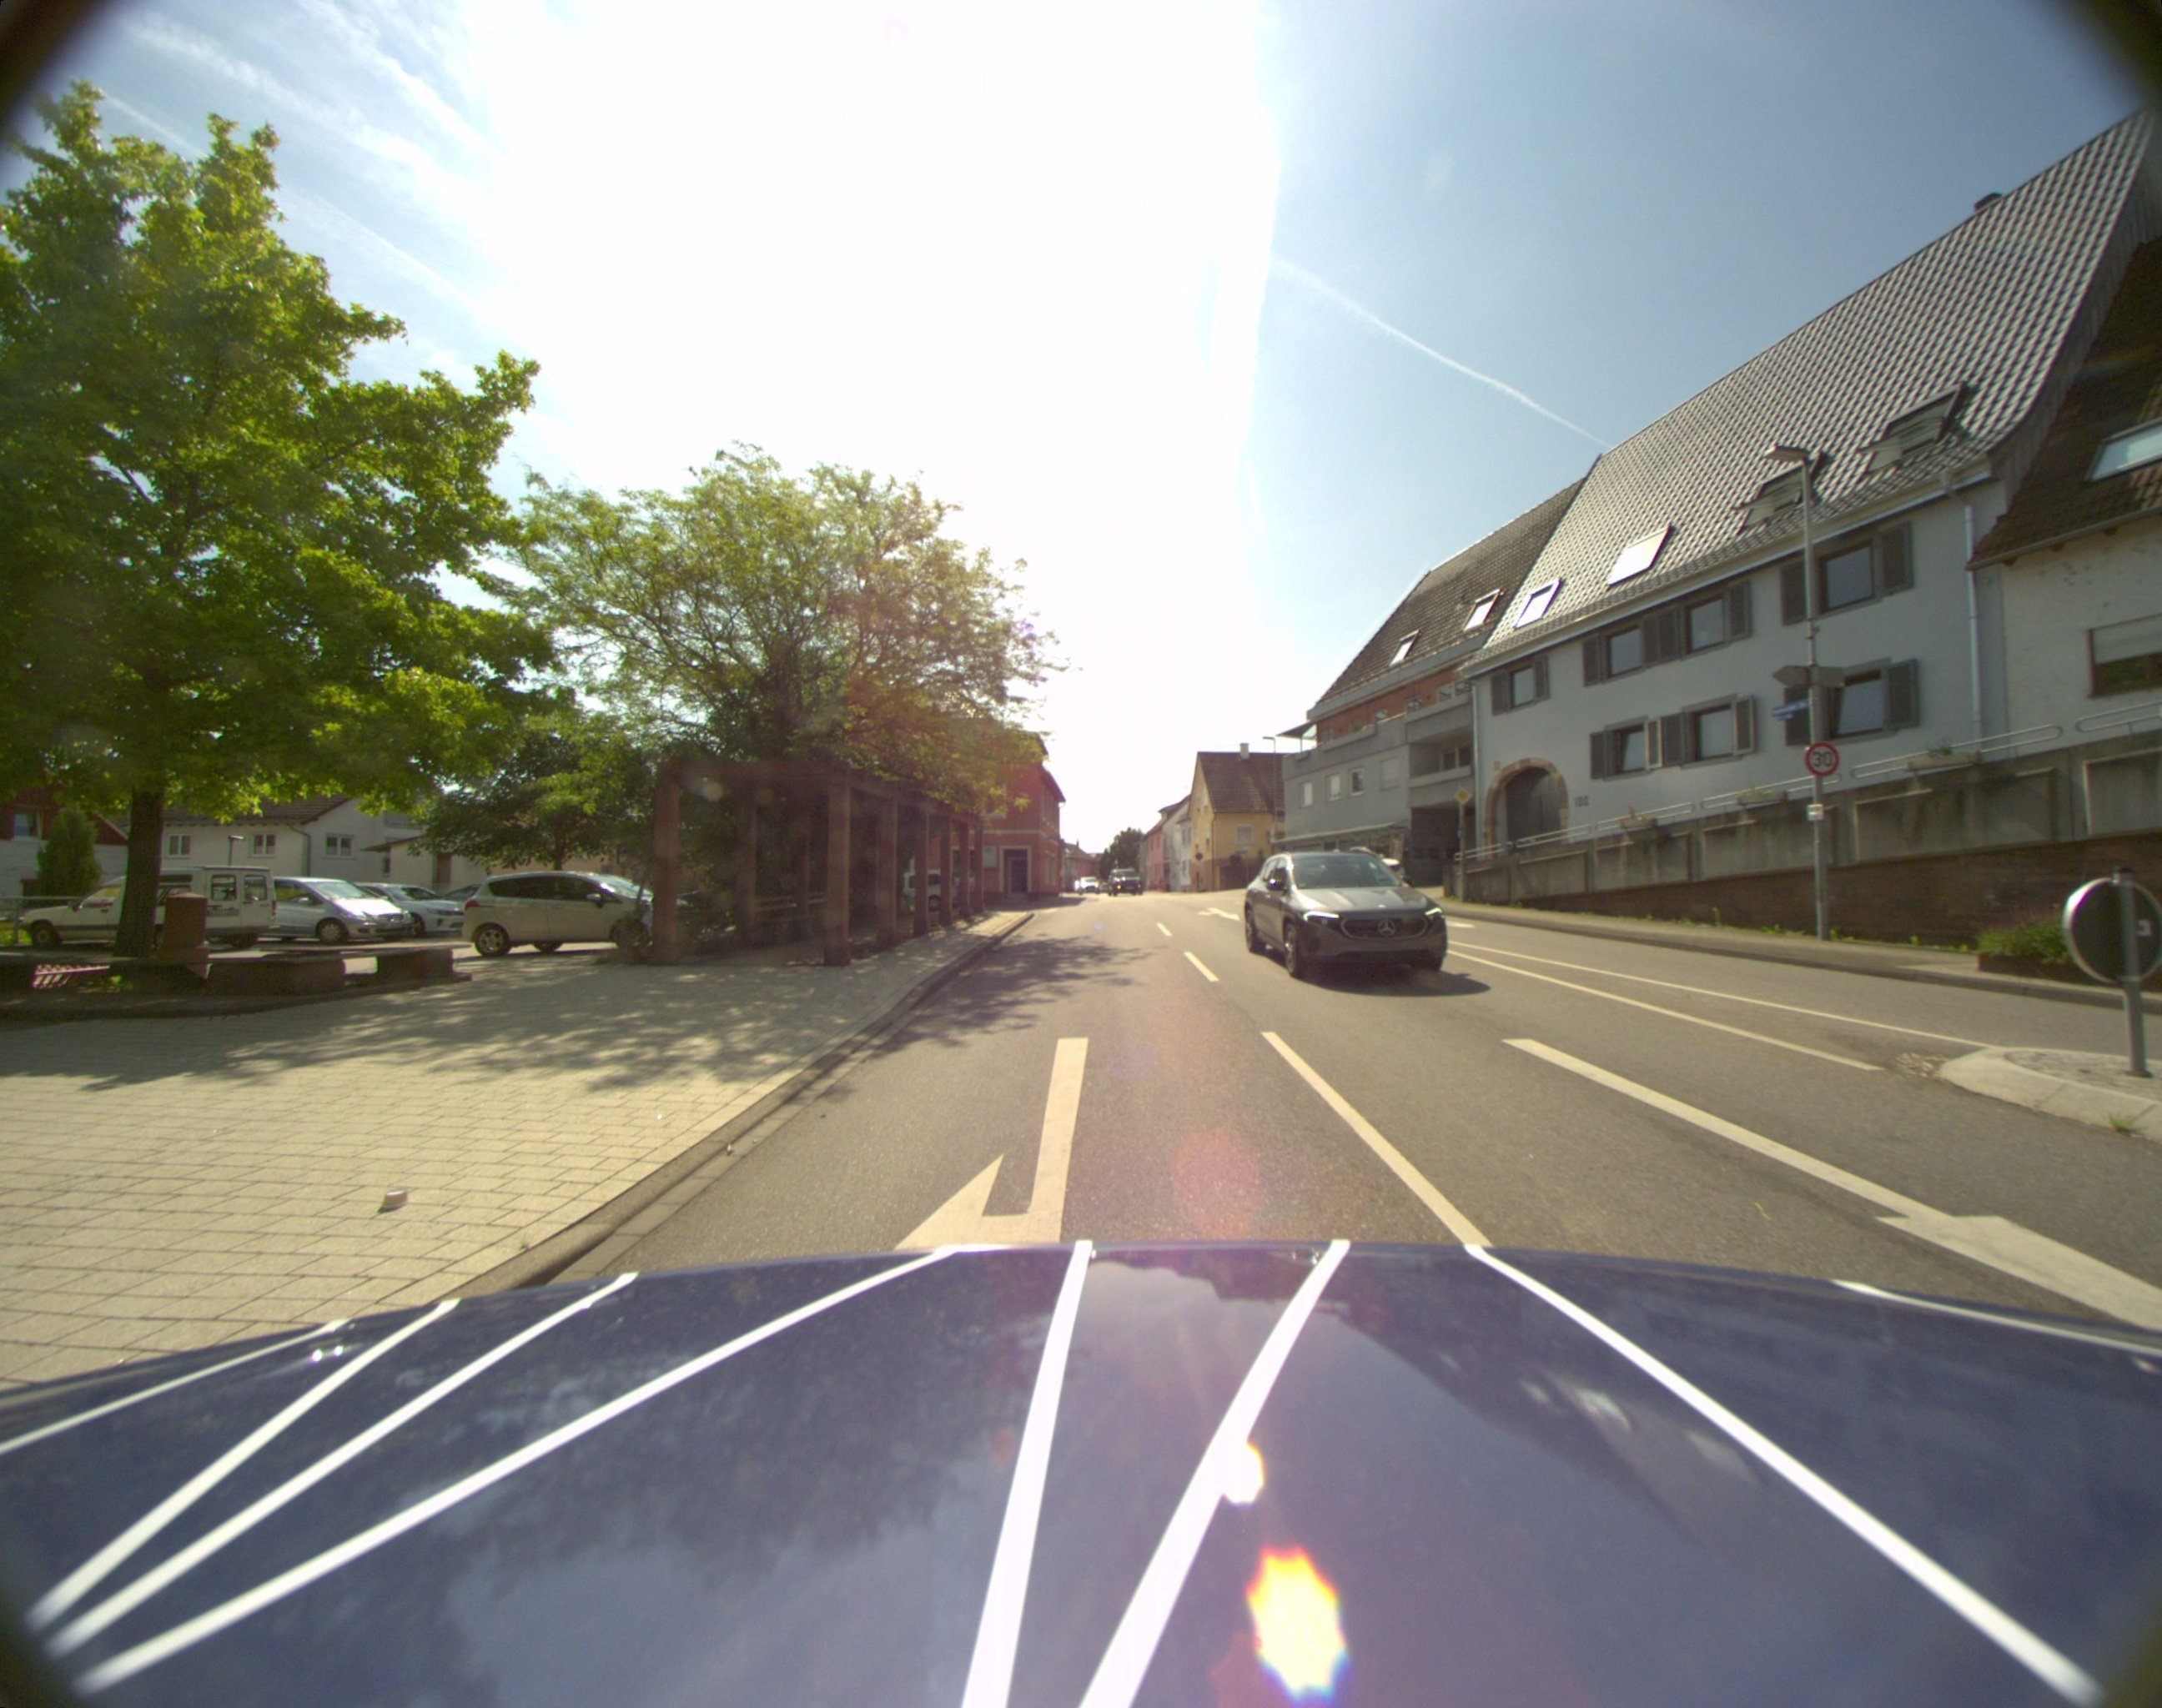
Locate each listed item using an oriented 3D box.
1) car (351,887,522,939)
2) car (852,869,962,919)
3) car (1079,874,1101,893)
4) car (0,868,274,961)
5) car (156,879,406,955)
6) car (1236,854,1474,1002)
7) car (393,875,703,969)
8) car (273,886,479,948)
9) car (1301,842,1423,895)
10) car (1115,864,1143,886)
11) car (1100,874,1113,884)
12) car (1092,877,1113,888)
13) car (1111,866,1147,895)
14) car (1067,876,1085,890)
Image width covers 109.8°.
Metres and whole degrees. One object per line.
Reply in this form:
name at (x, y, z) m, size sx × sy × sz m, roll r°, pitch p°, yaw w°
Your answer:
car at (-19.604, 1.781, 23.230) m, size 3.881 × 1.423 × 1.521 m, roll -1°, pitch -1°, yaw -1°
car at (-7.442, 1.695, 32.707) m, size 4.095 × 1.743 × 1.813 m, roll -5°, pitch -1°, yaw 6°
car at (0.768, 2.686, 69.750) m, size 1.780 × 1.533 × 4.098 m, roll -2°, pitch -1°, yaw -2°
car at (-19.714, 1.199, 15.604) m, size 4.185 × 1.730 × 1.884 m, roll -1°, pitch -1°, yaw -1°
car at (-18.694, 1.446, 17.896) m, size 3.982 × 1.602 × 1.756 m, roll -1°, pitch -1°, yaw -1°
car at (3.443, 0.828, 10.480) m, size 1.737 × 1.564 × 4.291 m, roll -2°, pitch 0°, yaw 1°
car at (-9.729, 1.207, 14.134) m, size 4.492 × 1.535 × 1.725 m, roll -1°, pitch -1°, yaw -1°
car at (-18.648, 1.636, 20.217) m, size 3.881 × 1.481 × 1.654 m, roll -1°, pitch -1°, yaw -1°
car at (10.477, 0.531, 28.859) m, size 1.811 × 1.787 × 5.281 m, roll -1°, pitch -1°, yaw -11°
car at (4.352, 1.951, 69.676) m, size 1.974 × 1.921 × 5.314 m, roll 0°, pitch -2°, yaw -4°
car at (3.782, 3.710, 112.519) m, size 1.733 × 1.532 × 3.813 m, roll 0°, pitch -2°, yaw -1°
car at (3.862, 5.121, 137.824) m, size 1.945 × 1.841 × 4.518 m, roll -3°, pitch -2°, yaw 27°
car at (2.897, 1.598, 46.980) m, size 1.792 × 1.642 × 4.393 m, roll -1°, pitch -1°, yaw -2°
car at (-0.601, 3.364, 89.728) m, size 1.836 × 1.533 × 4.172 m, roll -1°, pitch -1°, yaw 3°
